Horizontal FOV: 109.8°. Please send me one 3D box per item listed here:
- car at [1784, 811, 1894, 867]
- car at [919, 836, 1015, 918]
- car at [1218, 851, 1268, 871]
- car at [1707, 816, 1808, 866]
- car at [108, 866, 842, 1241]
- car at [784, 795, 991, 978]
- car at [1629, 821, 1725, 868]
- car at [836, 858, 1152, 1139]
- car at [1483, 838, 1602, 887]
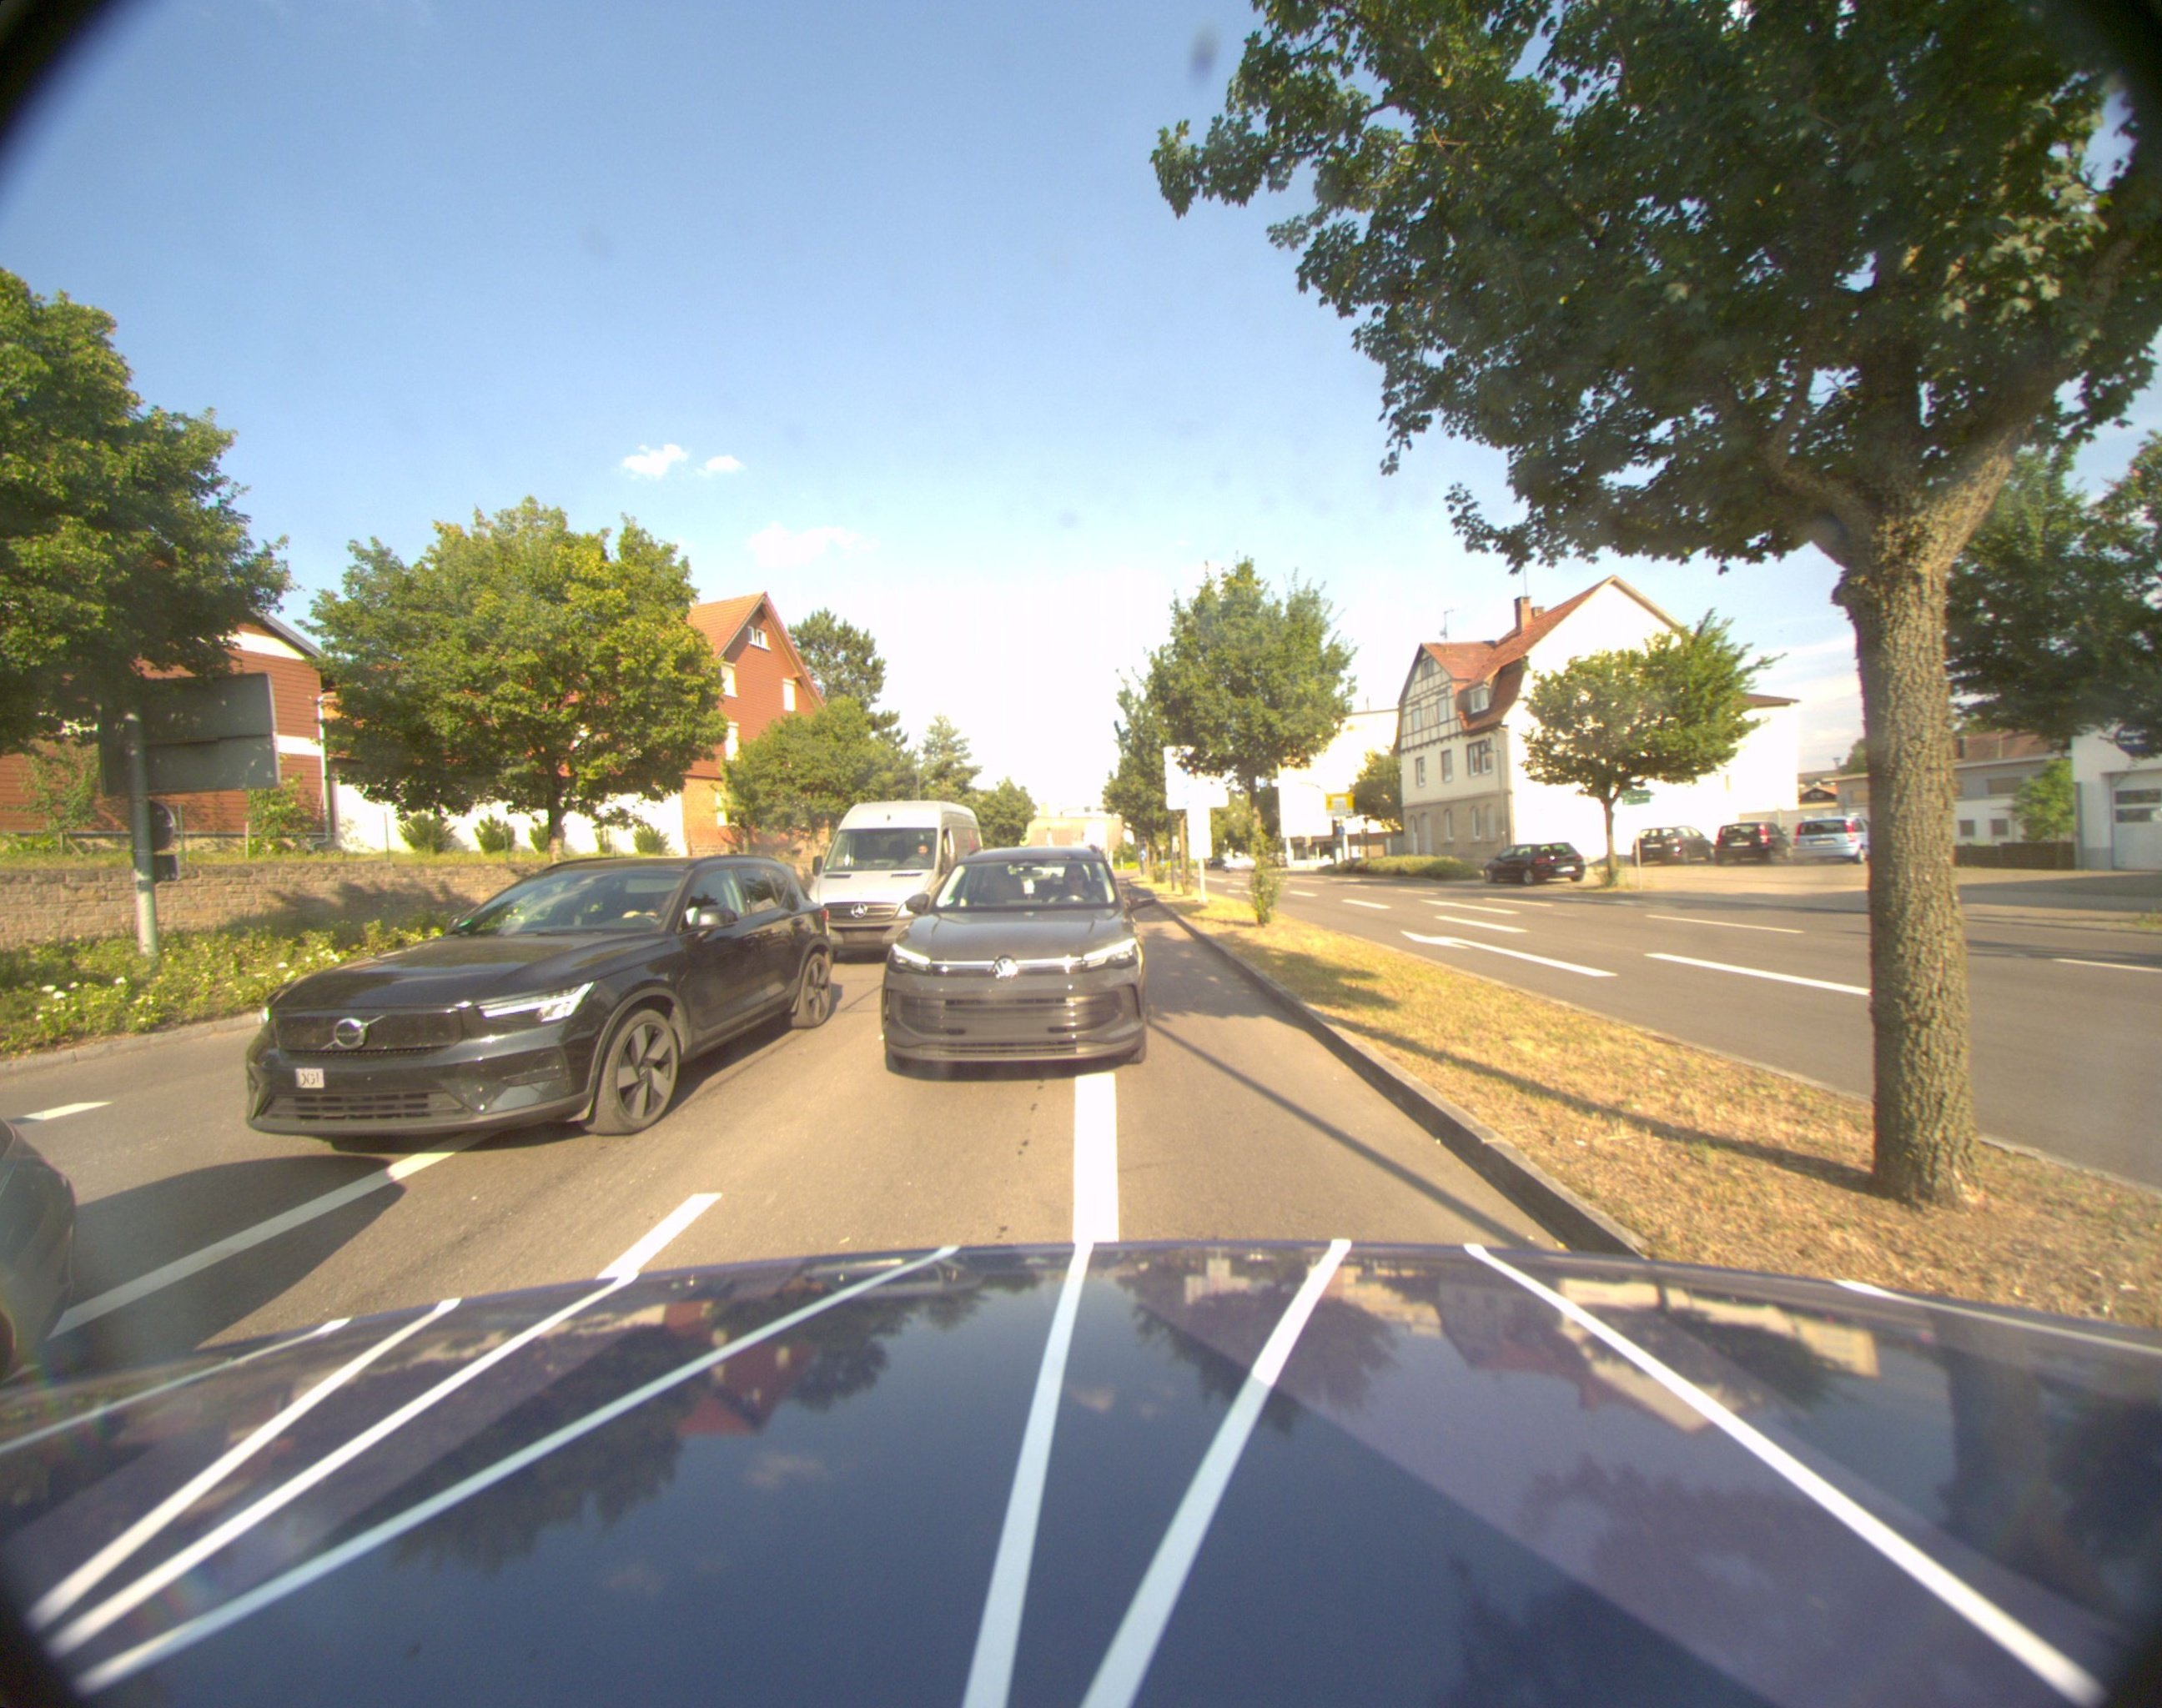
[{"bbox_3d":[24.877,-0.505,24.909,3.830,1.493,1.816,-5,0,-35],"label":"car"},{"bbox_3d":[-3.017,0.554,20.970,1.845,2.018,4.318,-1,0,2],"label":"car"},{"bbox_3d":[14.728,0.632,69.211,3.998,1.622,1.860,-2,0,-2],"label":"car"},{"bbox_3d":[24.655,-0.491,27.674,3.830,1.493,1.816,-5,0,-35],"label":"car"},{"bbox_3d":[-3.424,0.946,5.596,1.845,1.600,4.318,-1,0,2],"label":"car"},{"bbox_3d":[-3.075,0.447,13.671,1.992,2.554,6.046,-1,0,2],"label":"car"},{"bbox_3d":[23.376,-0.394,29.771,3.830,1.493,1.816,-5,0,-35],"label":"car"},{"bbox_3d":[-0.453,0.868,6.635,1.845,1.600,4.318,-1,0,2],"label":"car"},{"bbox_3d":[16.031,0.277,26.636,1.818,1.442,3.825,-5,0,1],"label":"car"}]
